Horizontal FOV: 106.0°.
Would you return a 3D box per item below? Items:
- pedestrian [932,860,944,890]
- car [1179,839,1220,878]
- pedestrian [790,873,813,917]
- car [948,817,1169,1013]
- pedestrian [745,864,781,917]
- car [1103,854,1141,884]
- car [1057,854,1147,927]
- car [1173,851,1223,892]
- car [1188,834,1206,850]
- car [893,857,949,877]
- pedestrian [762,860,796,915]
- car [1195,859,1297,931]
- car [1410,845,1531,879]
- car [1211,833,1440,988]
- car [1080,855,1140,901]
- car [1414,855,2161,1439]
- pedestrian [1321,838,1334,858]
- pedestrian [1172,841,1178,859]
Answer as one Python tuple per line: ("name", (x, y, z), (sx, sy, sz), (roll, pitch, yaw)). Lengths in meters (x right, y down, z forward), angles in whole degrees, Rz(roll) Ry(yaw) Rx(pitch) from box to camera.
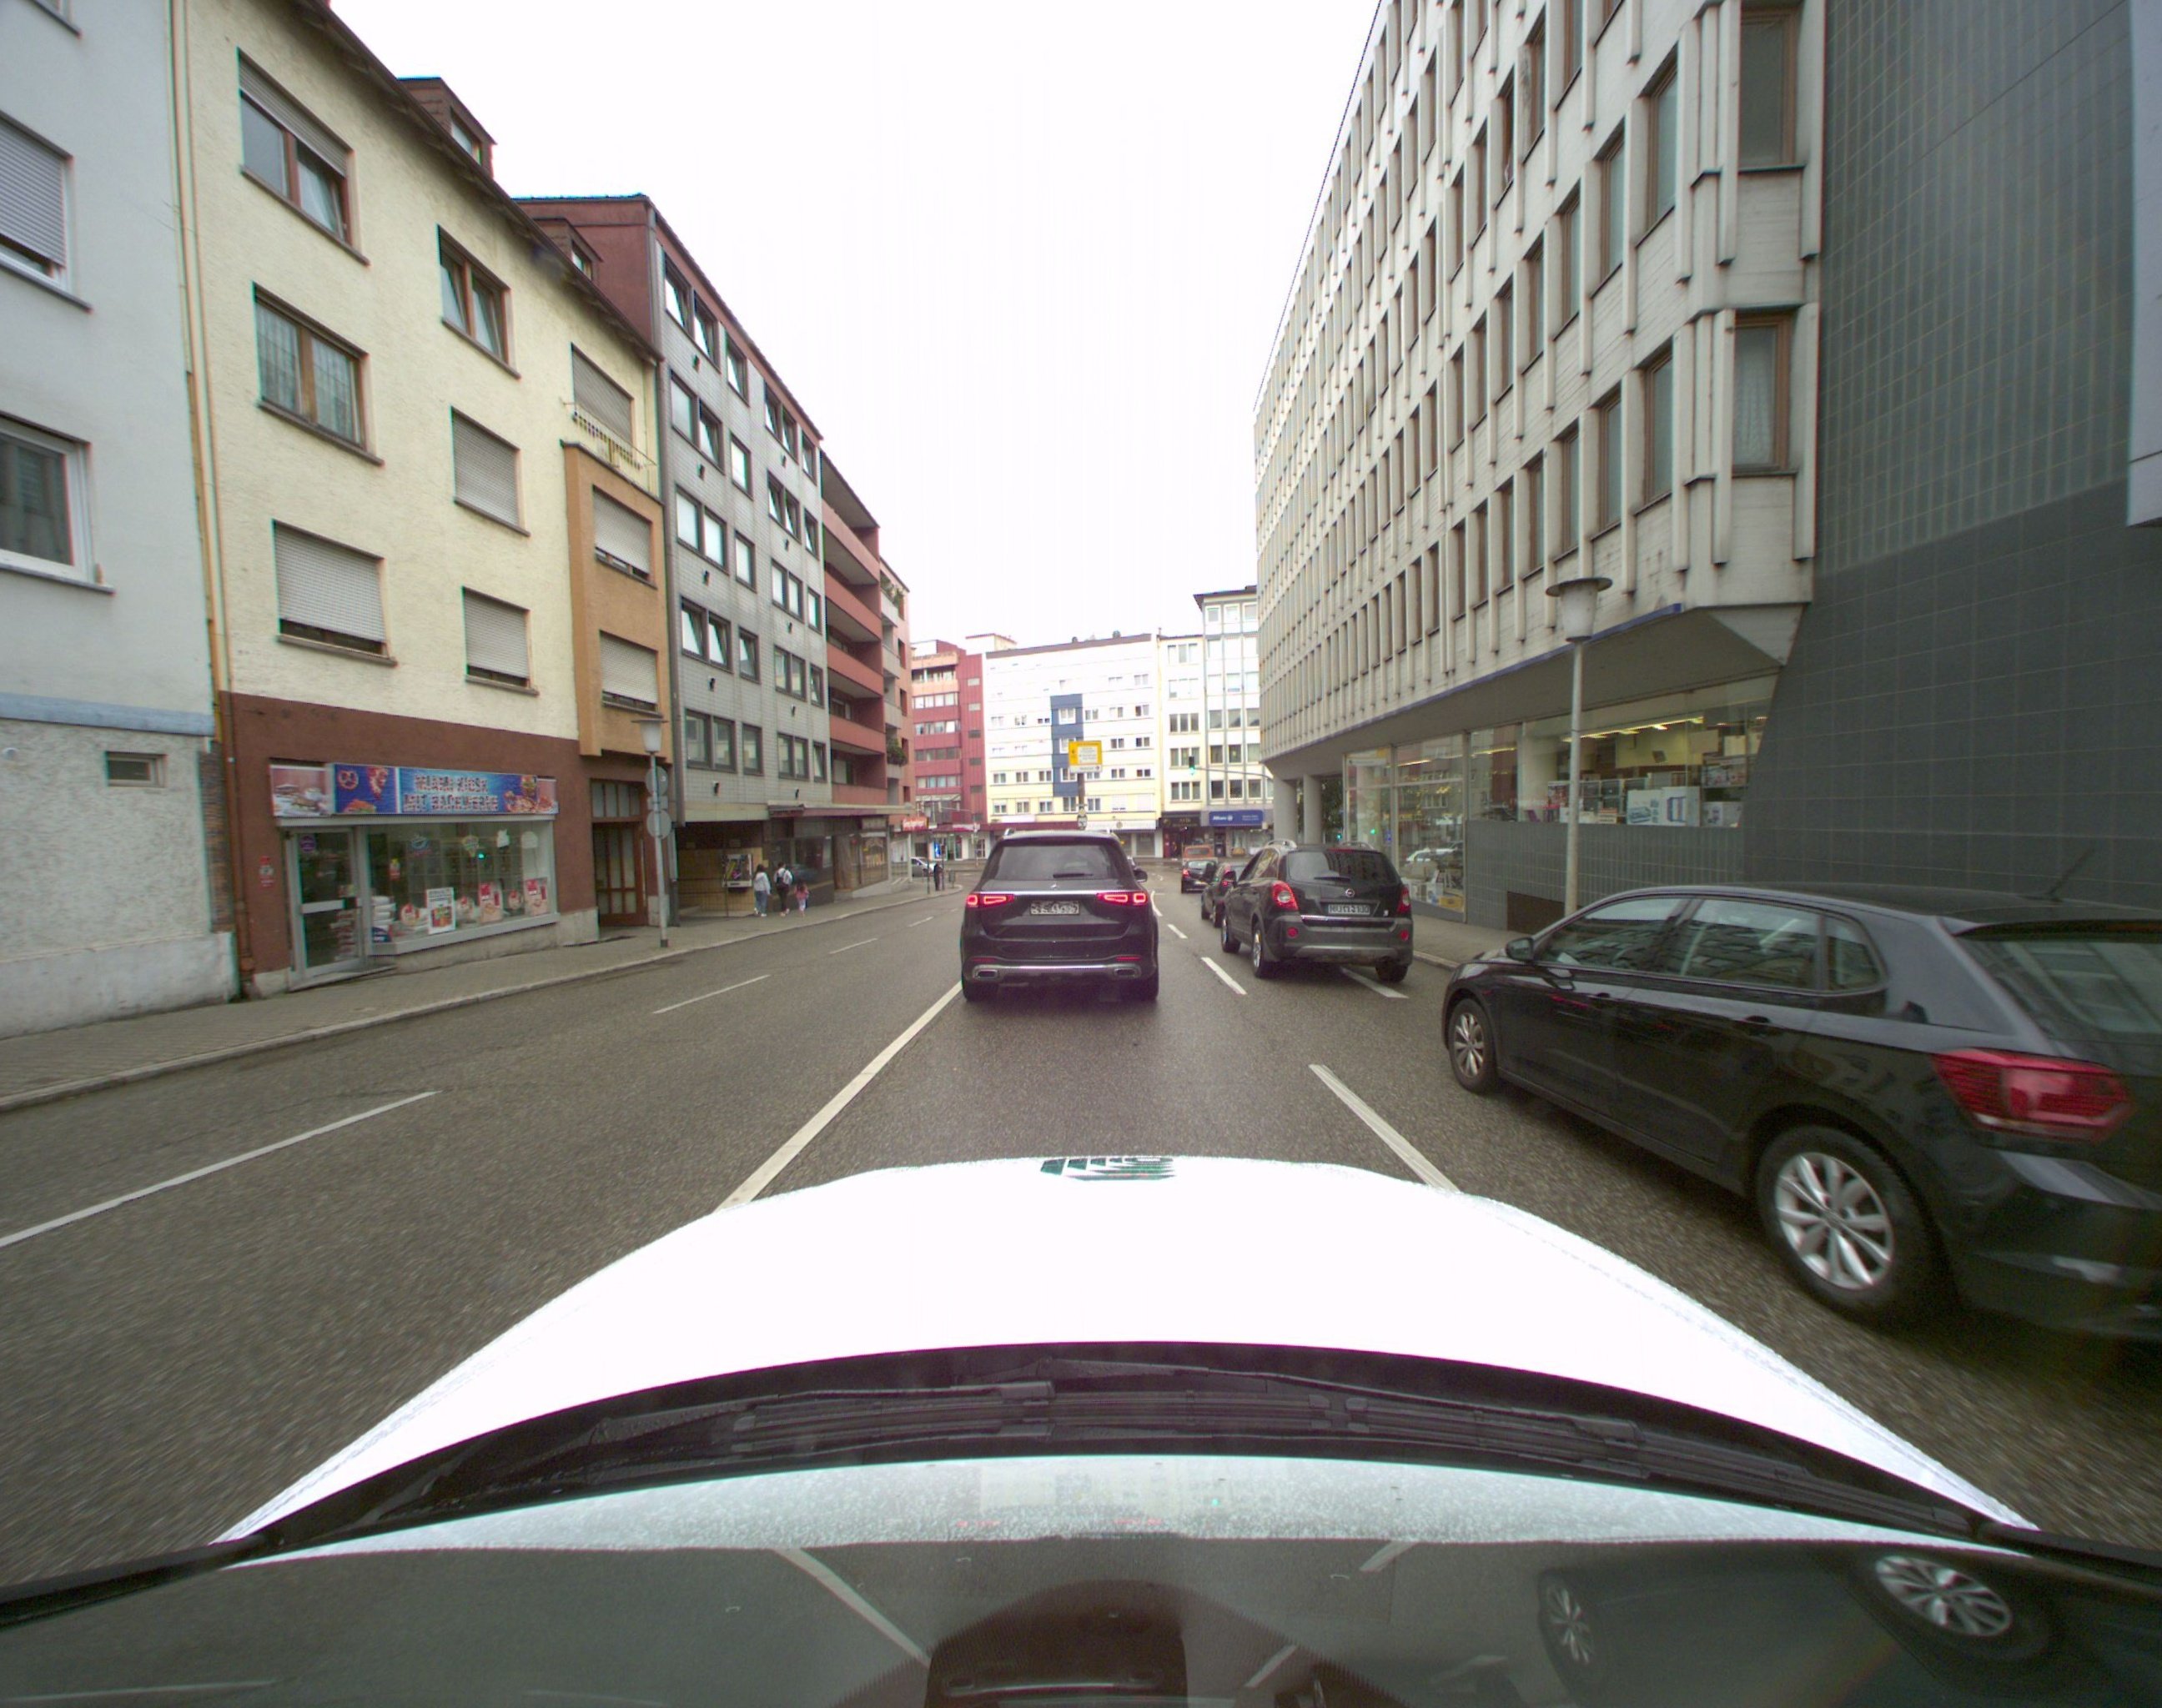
("pedestrian", (-8.208, 1.190, 46.617), (0.552, 1.697, 0.623), (-1, 0, -2))
("car", (7.055, 0.280, 49.062), (2.231, 2.228, 5.437), (0, 0, 6))
("pedestrian", (-8.739, 1.266, 25.466), (0.533, 1.323, 0.722), (1, 0, -7))
("car", (-0.193, 0.558, 9.862), (2.032, 1.799, 4.662), (0, 0, 0))
("pedestrian", (-9.616, 1.085, 24.662), (0.826, 1.561, 0.722), (1, -1, -7))
("car", (2.176, 0.818, 43.758), (1.917, 1.515, 4.664), (1, -1, 2))
("car", (0.455, 0.761, 19.193), (1.867, 1.495, 4.400), (0, 0, 0))
("car", (5.027, 0.737, 35.459), (1.815, 1.658, 4.499), (0, -1, 4))
("car", (13.045, -1.348, 91.201), (1.786, 1.670, 4.012), (-2, 0, 10))
("car", (-13.196, 1.086, 67.217), (4.129, 1.592, 1.748), (0, 0, 17))
("pedestrian", (-9.442, 1.053, 25.503), (0.826, 1.689, 0.722), (1, -1, -7))
("car", (3.700, 0.851, 18.862), (1.759, 1.397, 4.004), (2, 0, 4))
("car", (18.232, 0.379, 38.255), (4.790, 1.494, 1.868), (-1, 0, 43))
("car", (3.119, 0.641, 11.440), (1.891, 1.695, 4.506), (2, 0, 1))
("car", (1.057, 0.828, 29.995), (1.986, 1.486, 4.239), (-2, 0, 2))
("car", (3.334, 0.770, 4.090), (1.683, 1.477, 4.000), (2, 0, 0))
("pedestrian", (22.762, -0.564, 75.260), (1.023, 1.688, 0.833), (-1, 6, 10))
("pedestrian", (9.125, -0.392, 79.038), (0.561, 1.688, 0.758), (-2, 6, 8))
